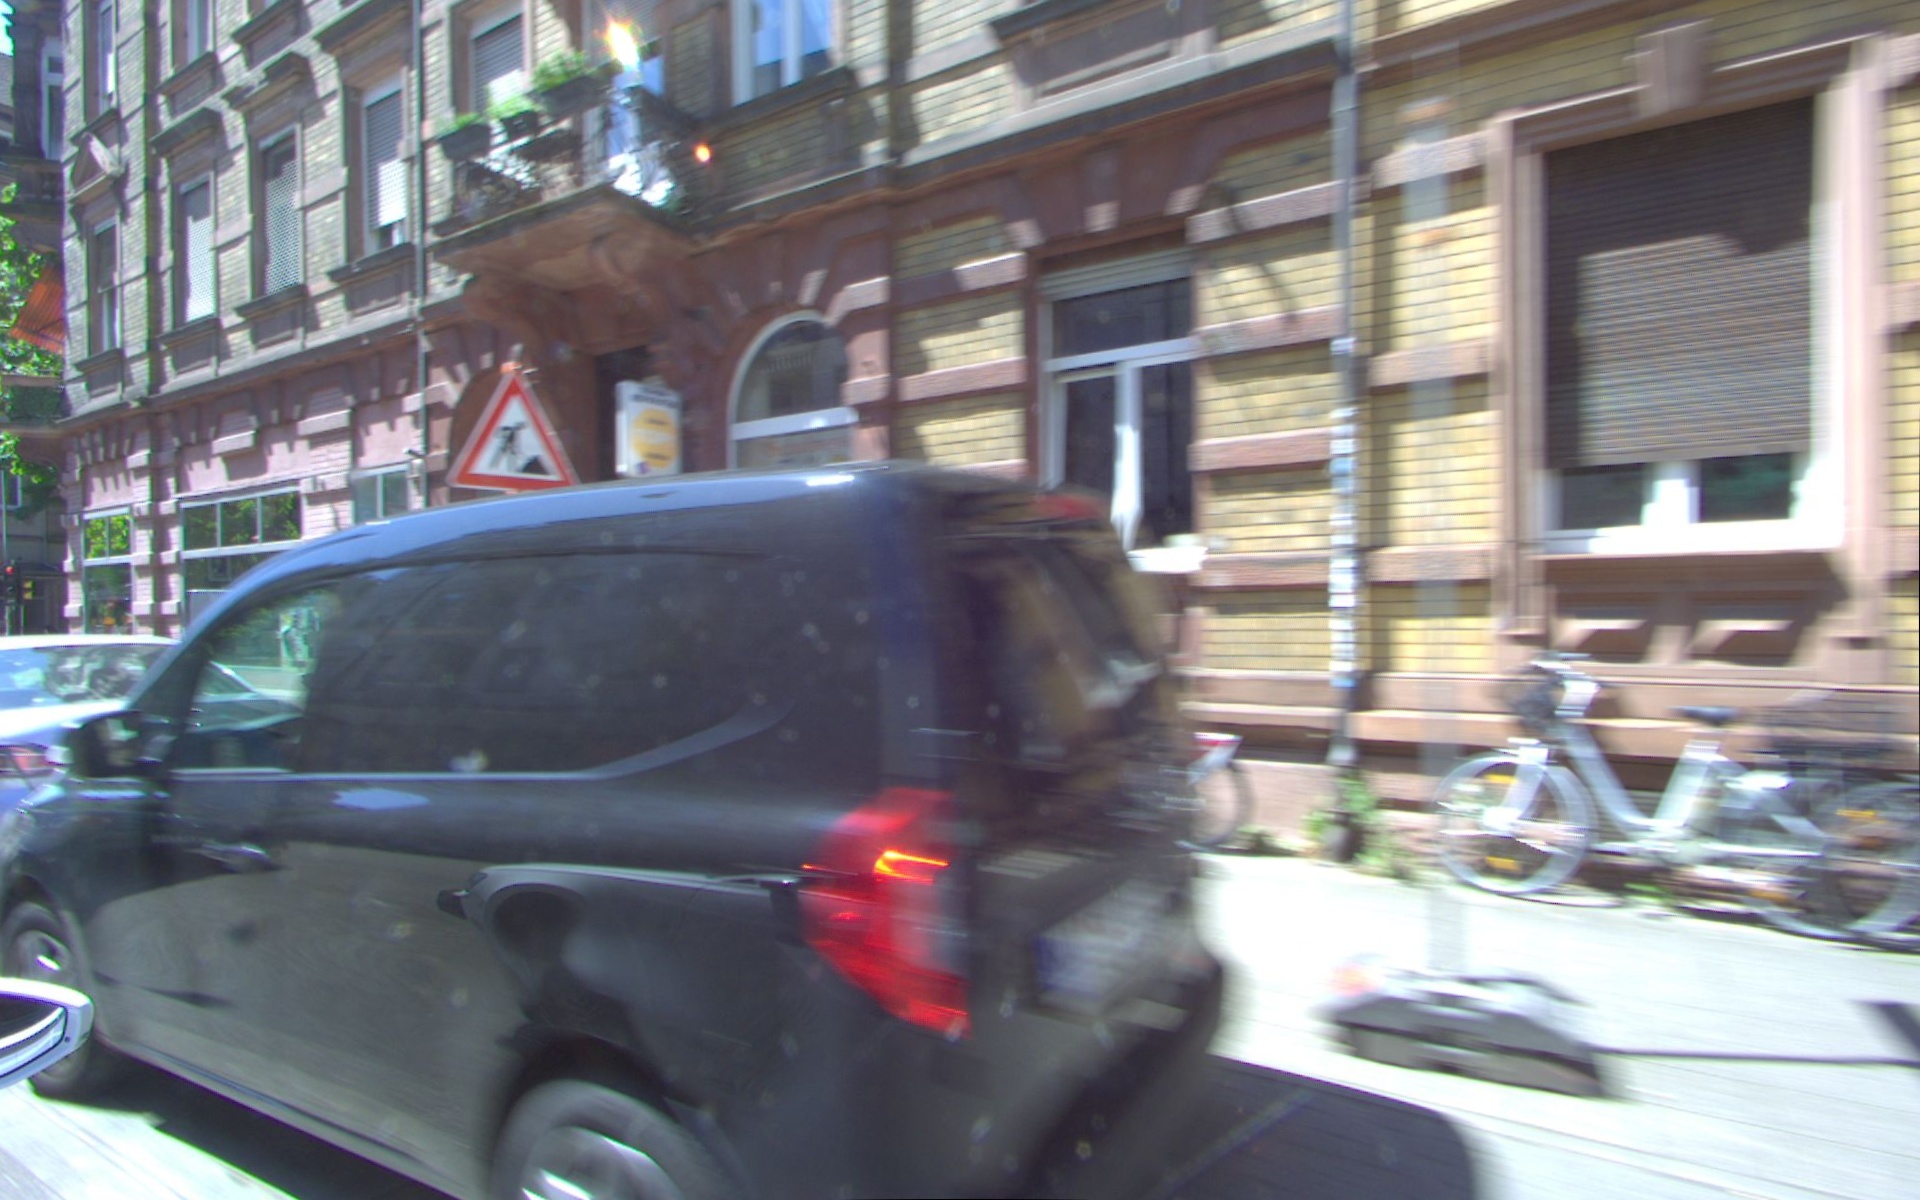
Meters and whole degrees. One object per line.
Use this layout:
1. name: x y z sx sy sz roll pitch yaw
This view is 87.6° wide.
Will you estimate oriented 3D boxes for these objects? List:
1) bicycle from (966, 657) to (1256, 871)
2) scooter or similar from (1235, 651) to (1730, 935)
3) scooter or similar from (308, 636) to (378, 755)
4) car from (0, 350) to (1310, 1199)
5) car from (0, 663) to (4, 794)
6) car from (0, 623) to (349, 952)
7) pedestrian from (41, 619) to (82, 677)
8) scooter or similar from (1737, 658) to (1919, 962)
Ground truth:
1. bicycle: 0.862 0.919 6.015 1.730 1.118 0.353 -1 -1 32
2. scooter or similar: 2.500 0.858 5.026 2.118 1.168 0.475 -1 -1 32
3. scooter or similar: -6.593 0.988 10.682 1.257 1.192 0.291 -1 -1 42
4. car: -1.302 0.614 3.159 4.274 1.790 1.821 -1 0 31
5. car: -10.372 1.013 9.016 3.606 1.451 1.624 -1 0 31
6. car: -5.917 0.904 6.247 4.420 1.451 1.722 -1 0 31
7. pedestrian: -25.994 1.366 28.972 0.635 1.645 0.798 0 0 38
8. scooter or similar: 4.325 0.830 3.838 2.082 1.168 0.475 -1 -1 32
